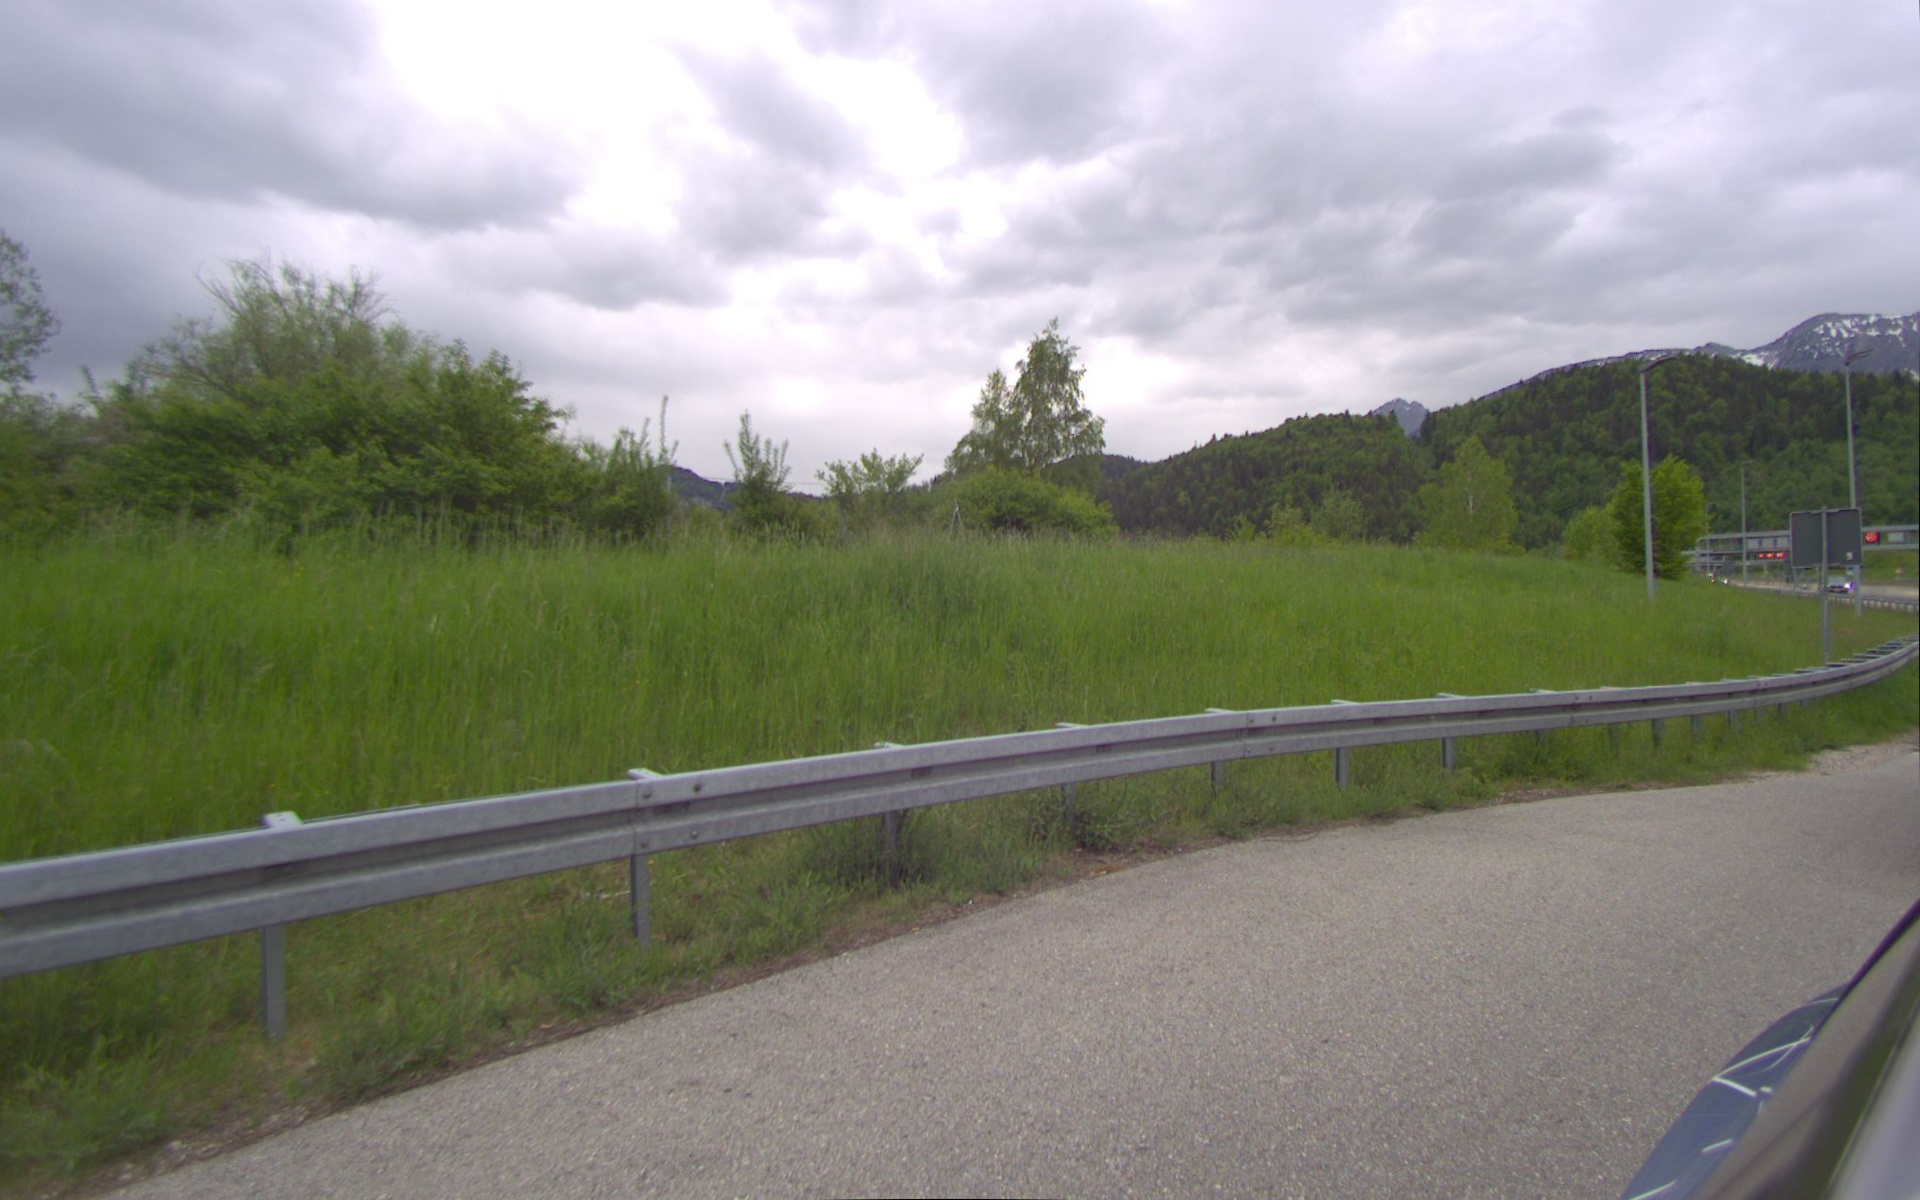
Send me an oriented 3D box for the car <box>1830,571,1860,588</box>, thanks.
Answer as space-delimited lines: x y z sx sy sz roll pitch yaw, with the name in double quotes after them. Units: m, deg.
88.108 -2.009 100.803 1.710 1.659 4.294 1 2 35 "car"
